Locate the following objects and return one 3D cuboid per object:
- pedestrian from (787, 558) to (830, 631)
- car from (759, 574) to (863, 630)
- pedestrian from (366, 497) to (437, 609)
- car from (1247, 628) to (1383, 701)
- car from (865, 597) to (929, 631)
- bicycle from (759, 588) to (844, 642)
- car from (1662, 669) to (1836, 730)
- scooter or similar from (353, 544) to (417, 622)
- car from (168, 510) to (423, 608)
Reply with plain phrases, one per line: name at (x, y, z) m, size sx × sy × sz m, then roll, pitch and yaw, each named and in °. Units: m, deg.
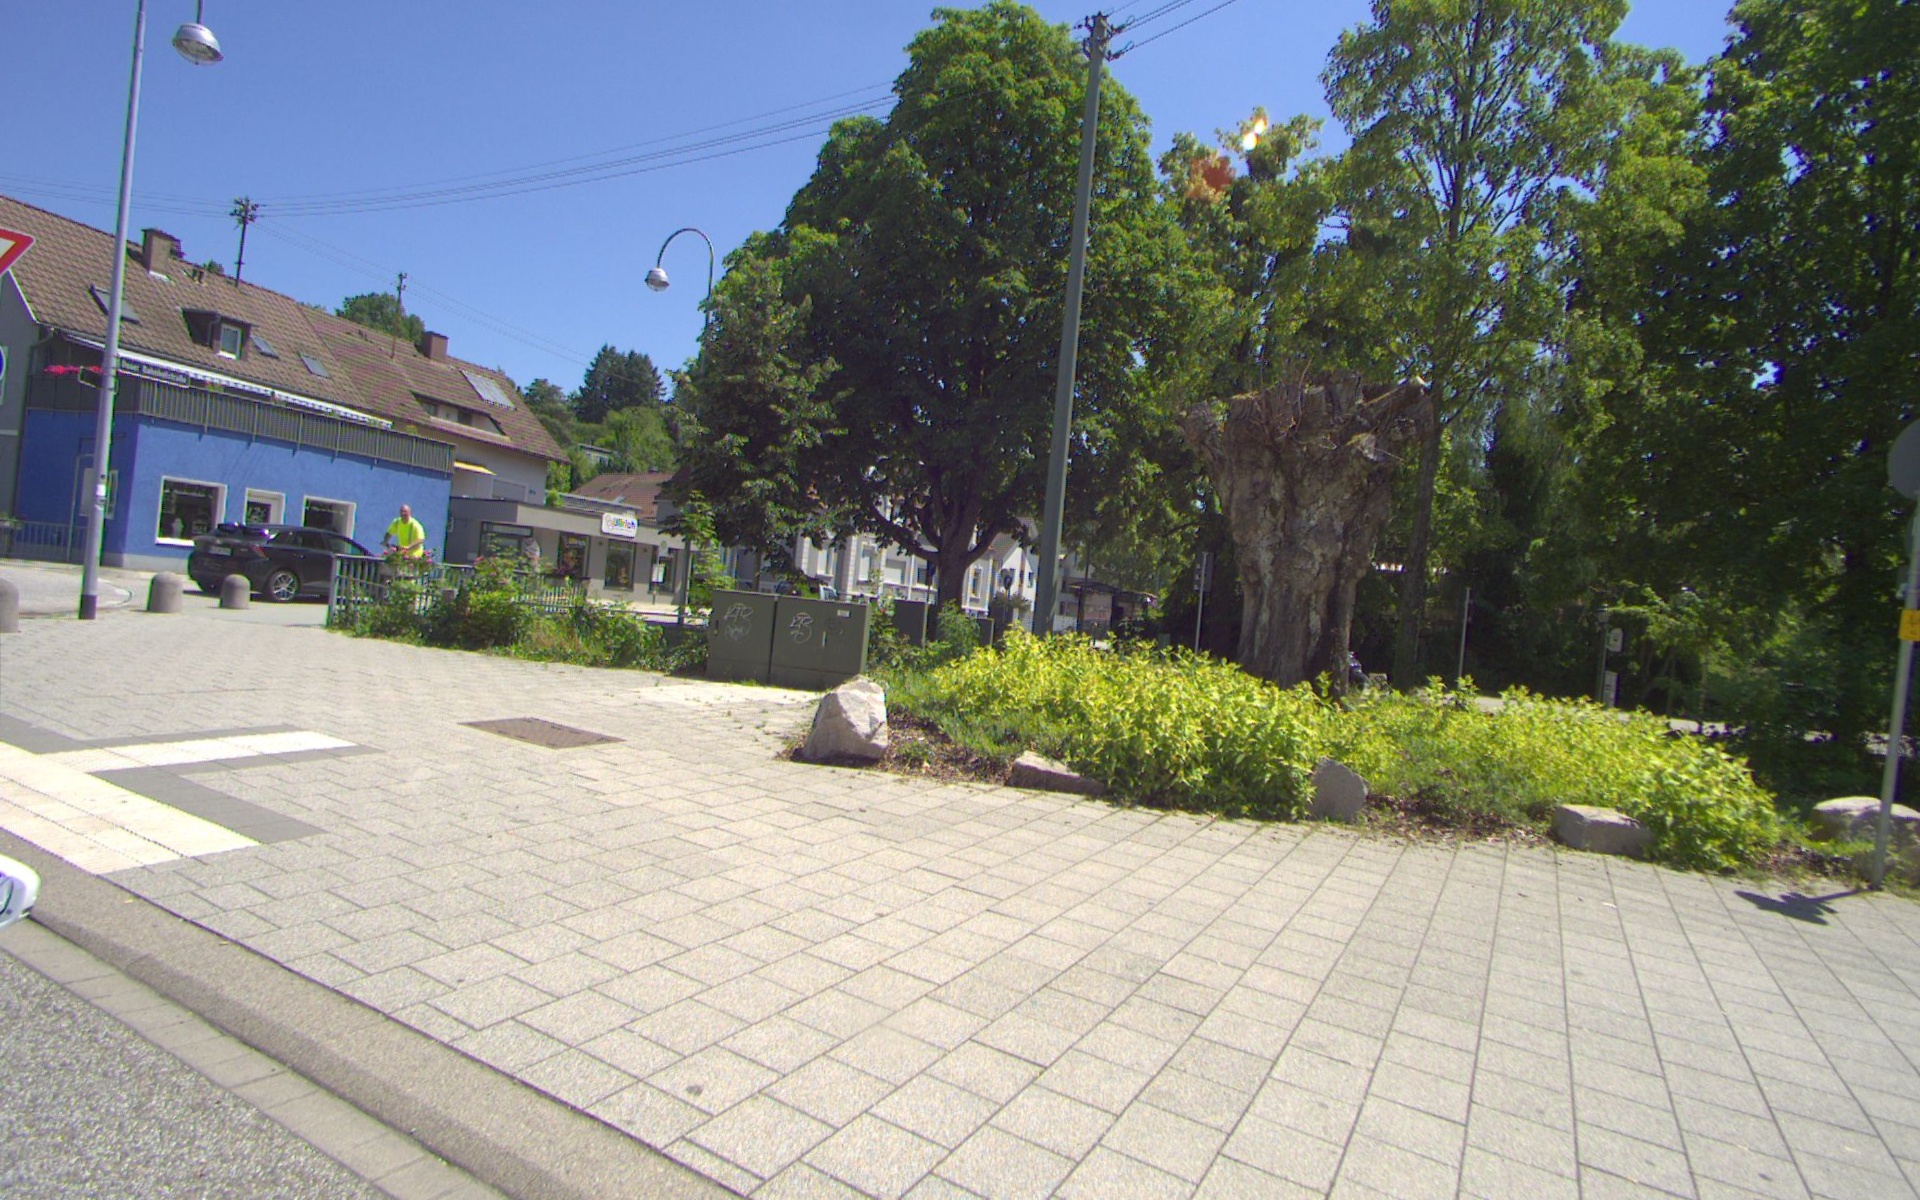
pedestrian at (-3.639, -0.124, 24.256) m, size 0.704 × 1.652 × 0.747 m, roll 5°, pitch 1°, yaw 7°
car at (-5.836, 0.121, 39.943) m, size 1.733 × 1.898 × 4.222 m, roll 6°, pitch 0°, yaw 30°
pedestrian at (-9.596, -0.797, 17.299) m, size 0.667 × 1.824 × 0.738 m, roll 5°, pitch 2°, yaw 3°
car at (9.103, 1.615, 26.137) m, size 1.644 × 1.471 × 3.756 m, roll 5°, pitch 0°, yaw -9°
car at (-3.442, 0.793, 55.535) m, size 1.747 × 1.571 × 3.672 m, roll 5°, pitch -1°, yaw 29°
bicycle at (-3.818, 0.366, 24.293) m, size 1.814 × 1.097 × 0.747 m, roll 6°, pitch 1°, yaw 7°
car at (40.937, 5.107, 52.457) m, size 2.168 × 2.267 × 6.716 m, roll 5°, pitch 0°, yaw -29°
scooter or similar at (-9.867, -0.301, 17.245) m, size 1.223 × 1.238 × 0.527 m, roll 6°, pitch 1°, yaw 43°
car at (-13.598, -0.767, 20.938) m, size 1.777 × 1.566 × 4.264 m, roll 7°, pitch 0°, yaw 13°
